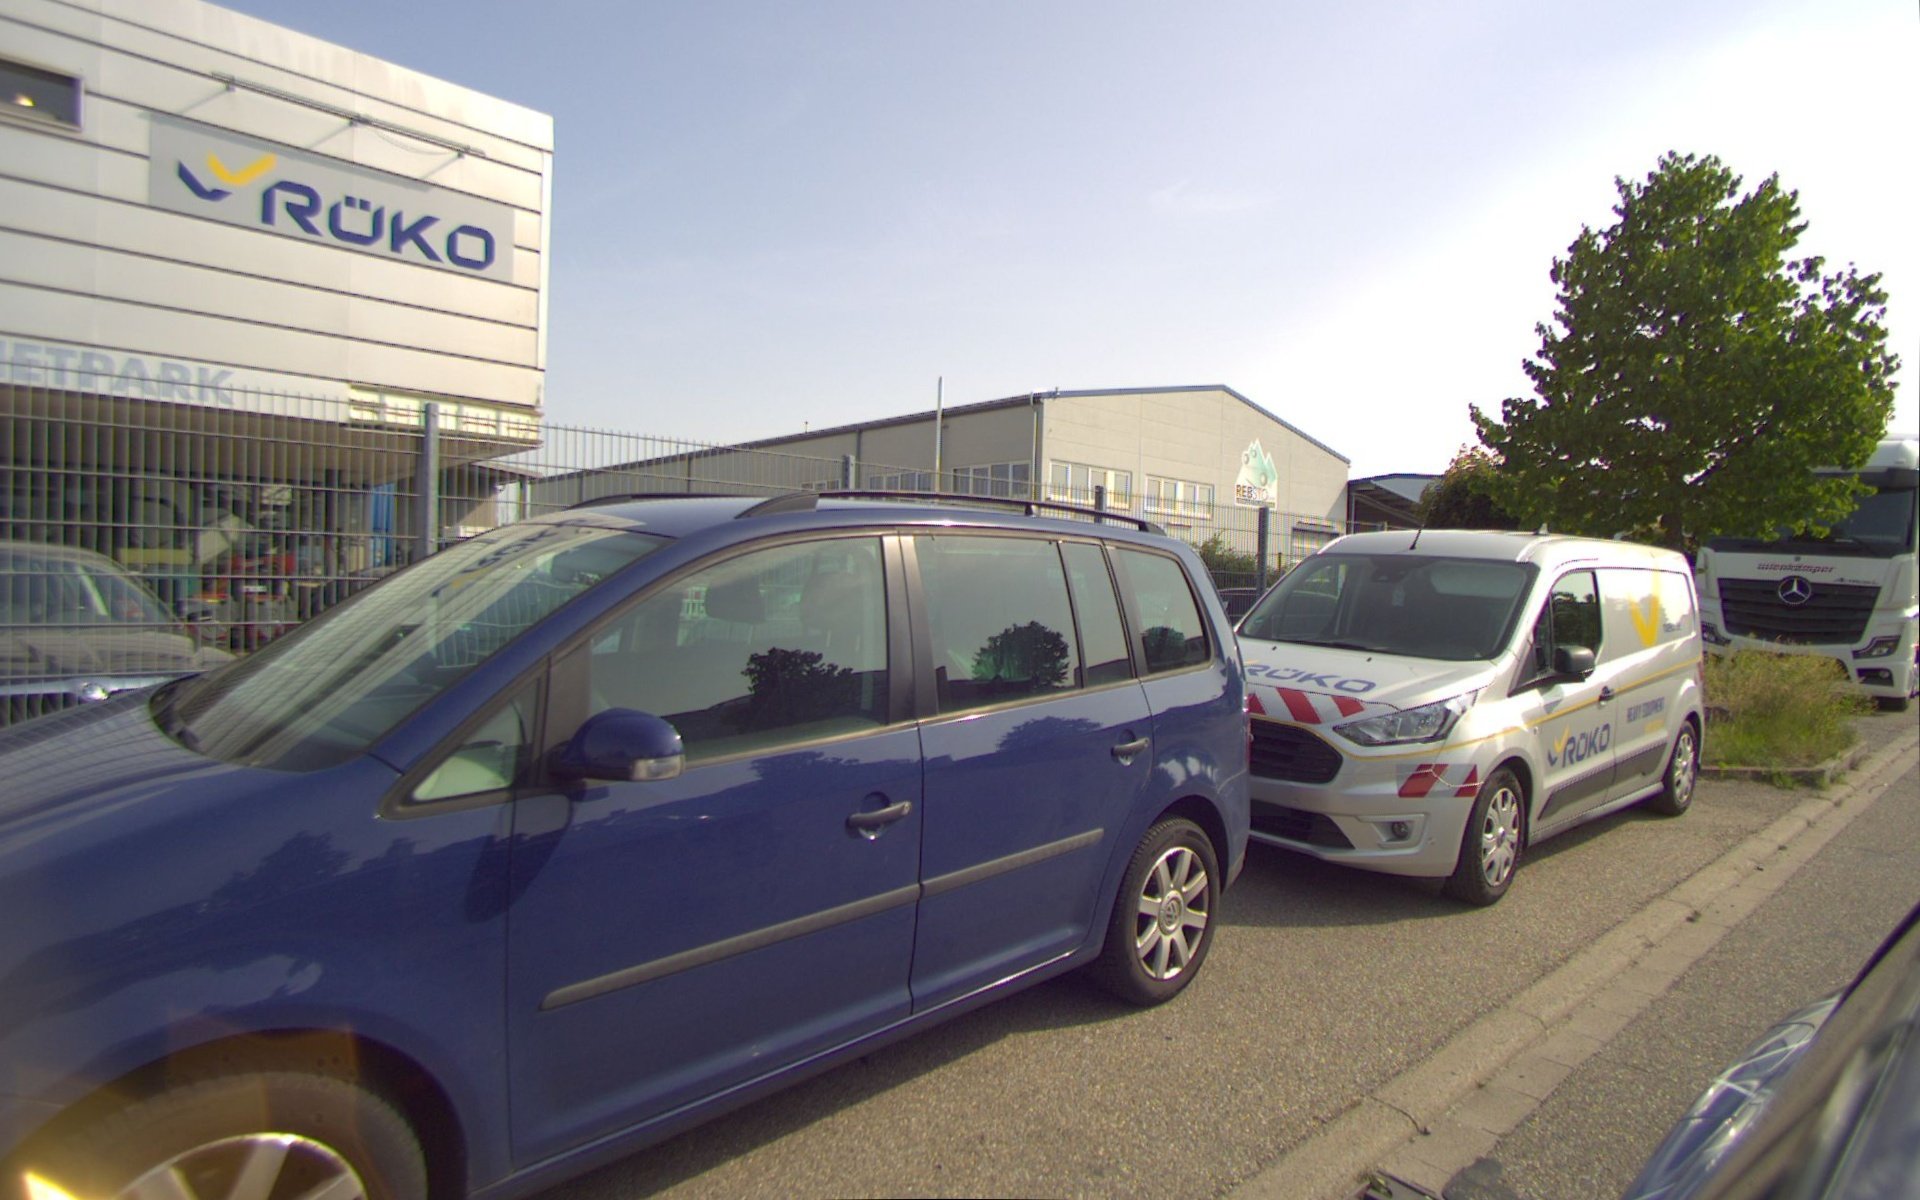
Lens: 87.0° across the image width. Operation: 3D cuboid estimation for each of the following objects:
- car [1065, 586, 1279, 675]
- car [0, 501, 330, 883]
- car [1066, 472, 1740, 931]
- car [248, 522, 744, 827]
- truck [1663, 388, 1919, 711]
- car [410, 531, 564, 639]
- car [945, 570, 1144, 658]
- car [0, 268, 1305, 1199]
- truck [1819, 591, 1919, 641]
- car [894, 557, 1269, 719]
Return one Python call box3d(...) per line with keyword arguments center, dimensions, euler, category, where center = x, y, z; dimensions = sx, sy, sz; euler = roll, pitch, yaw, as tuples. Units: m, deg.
box3d(center=(4.010, 0.517, 18.863), dimensions=(3.929, 1.450, 1.889), euler=(1, 1, -40), category="car")
box3d(center=(-5.141, 0.297, 5.650), dimensions=(1.868, 1.514, 4.228), euler=(2, 0, -44), category="car")
box3d(center=(2.951, 0.370, 6.223), dimensions=(4.518, 1.812, 1.998), euler=(0, 1, -40), category="car")
box3d(center=(-3.513, 0.319, 7.198), dimensions=(1.868, 1.514, 4.228), euler=(2, 0, -44), category="car")
box3d(center=(14.809, -0.647, 16.875), dimensions=(9.518, 4.064, 2.751), euler=(1, 3, -42), category="truck")
box3d(center=(-10.048, -0.332, 21.323), dimensions=(1.861, 2.027, 4.366), euler=(2, 0, -40), category="car")
box3d(center=(1.791, 0.267, 20.562), dimensions=(1.889, 1.576, 4.036), euler=(2, 1, 44), category="car")
box3d(center=(-0.881, 0.390, 3.030), dimensions=(4.176, 1.741, 1.828), euler=(0, 1, -42), category="car")
box3d(center=(51.223, 0.862, 55.513), dimensions=(2.229, 2.562, 6.223), euler=(2, 1, -9), category="truck")
box3d(center=(1.245, 0.306, 11.534), dimensions=(3.989, 1.496, 1.762), euler=(3, 1, 45), category="car")
